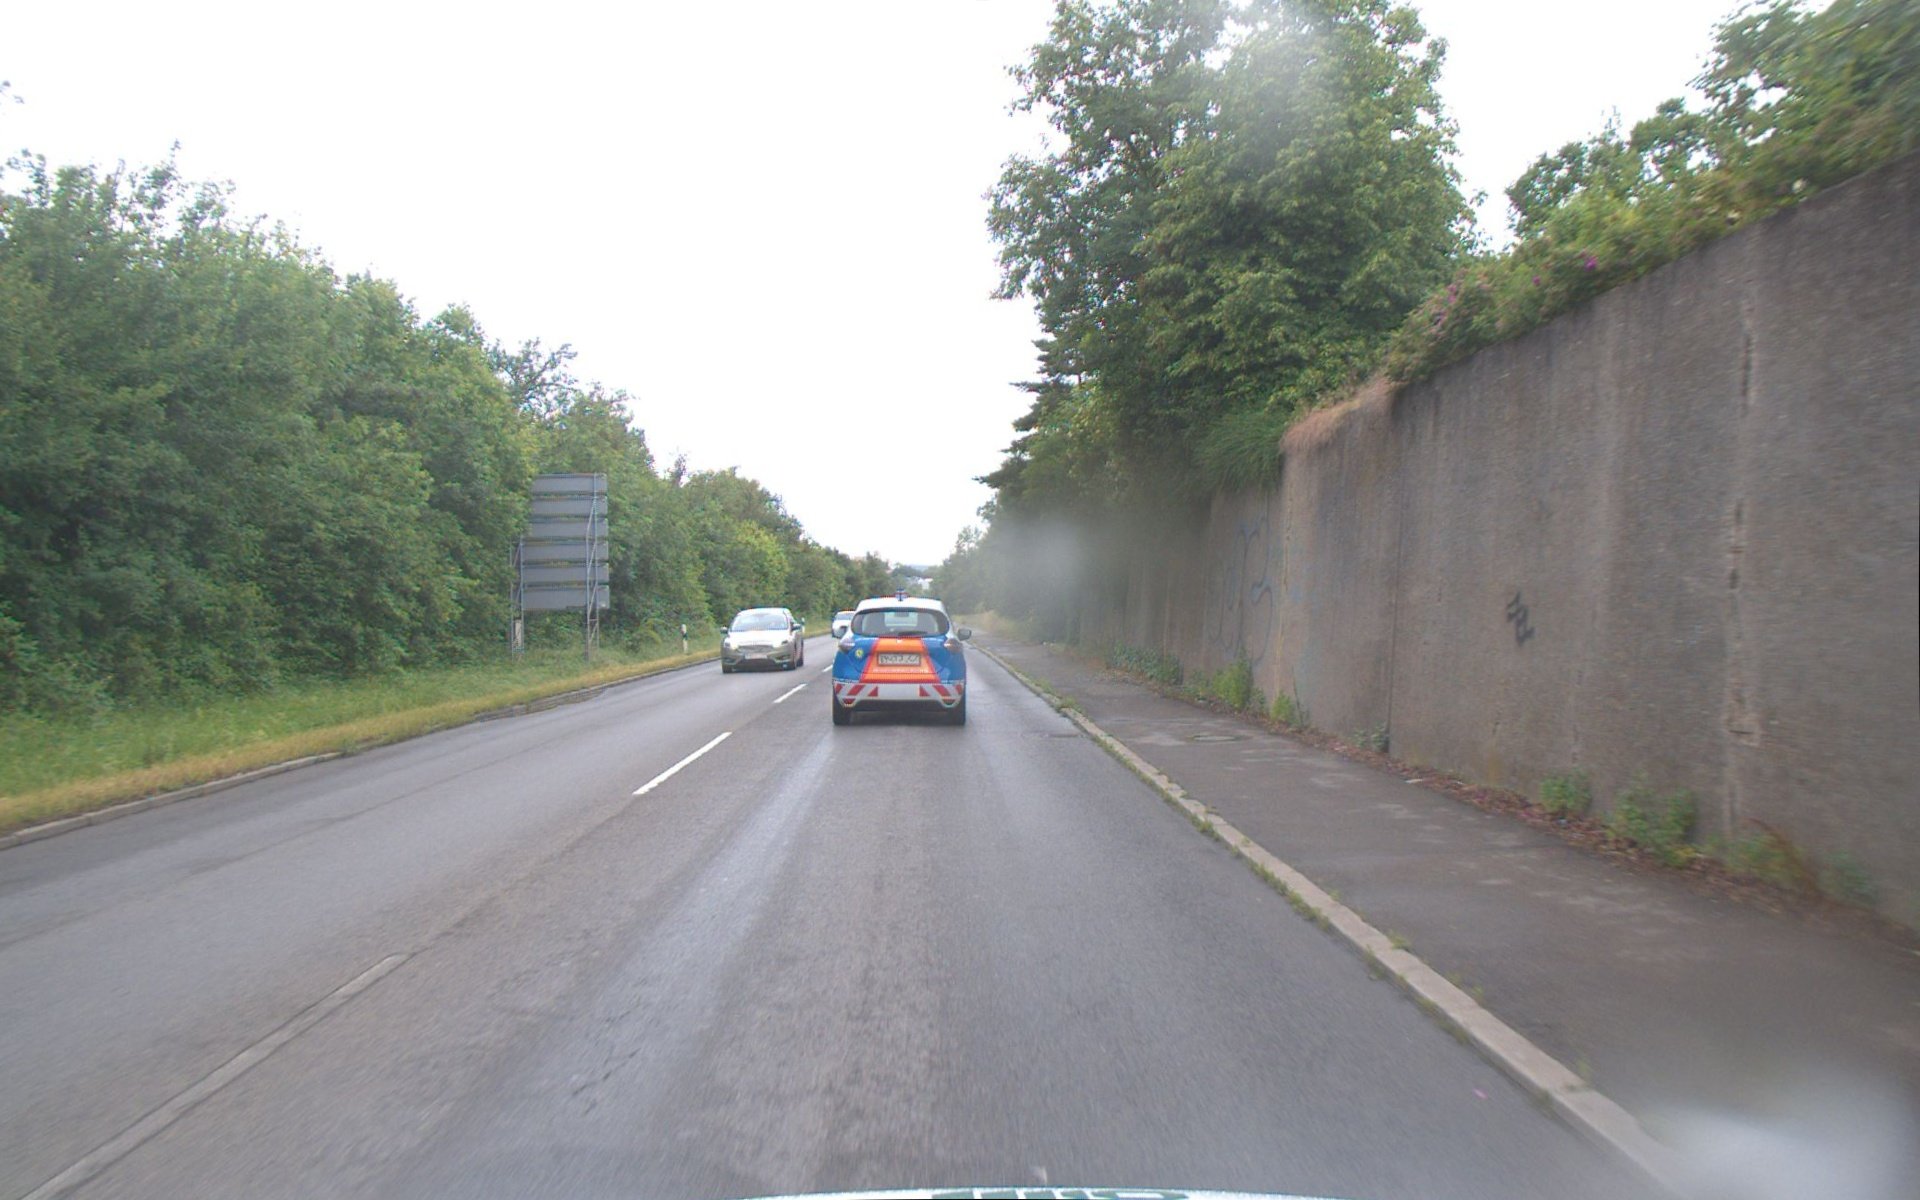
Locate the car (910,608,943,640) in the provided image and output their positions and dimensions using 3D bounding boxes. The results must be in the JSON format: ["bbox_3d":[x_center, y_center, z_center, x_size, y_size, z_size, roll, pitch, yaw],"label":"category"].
[{"bbox_3d":[-1.918,1.352,94.650,1.737,1.653,3.998,-2,0,-3],"label":"car"}]

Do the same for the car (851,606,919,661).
[{"bbox_3d":[-1.850,0.829,41.474,1.566,1.309,3.475,-1,-1,-1],"label":"car"}]

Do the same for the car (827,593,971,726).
[{"bbox_3d":[-0.777,0.721,21.866,1.716,1.583,3.791,1,0,-1],"label":"car"}]

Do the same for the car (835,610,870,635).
[{"bbox_3d":[-6.091,1.252,94.131,1.853,1.378,4.379,0,-1,-2],"label":"car"}]

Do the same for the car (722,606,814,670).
[{"bbox_3d":[-4.638,0.887,40.494,1.788,1.445,4.318,-1,0,-1],"label":"car"}]
